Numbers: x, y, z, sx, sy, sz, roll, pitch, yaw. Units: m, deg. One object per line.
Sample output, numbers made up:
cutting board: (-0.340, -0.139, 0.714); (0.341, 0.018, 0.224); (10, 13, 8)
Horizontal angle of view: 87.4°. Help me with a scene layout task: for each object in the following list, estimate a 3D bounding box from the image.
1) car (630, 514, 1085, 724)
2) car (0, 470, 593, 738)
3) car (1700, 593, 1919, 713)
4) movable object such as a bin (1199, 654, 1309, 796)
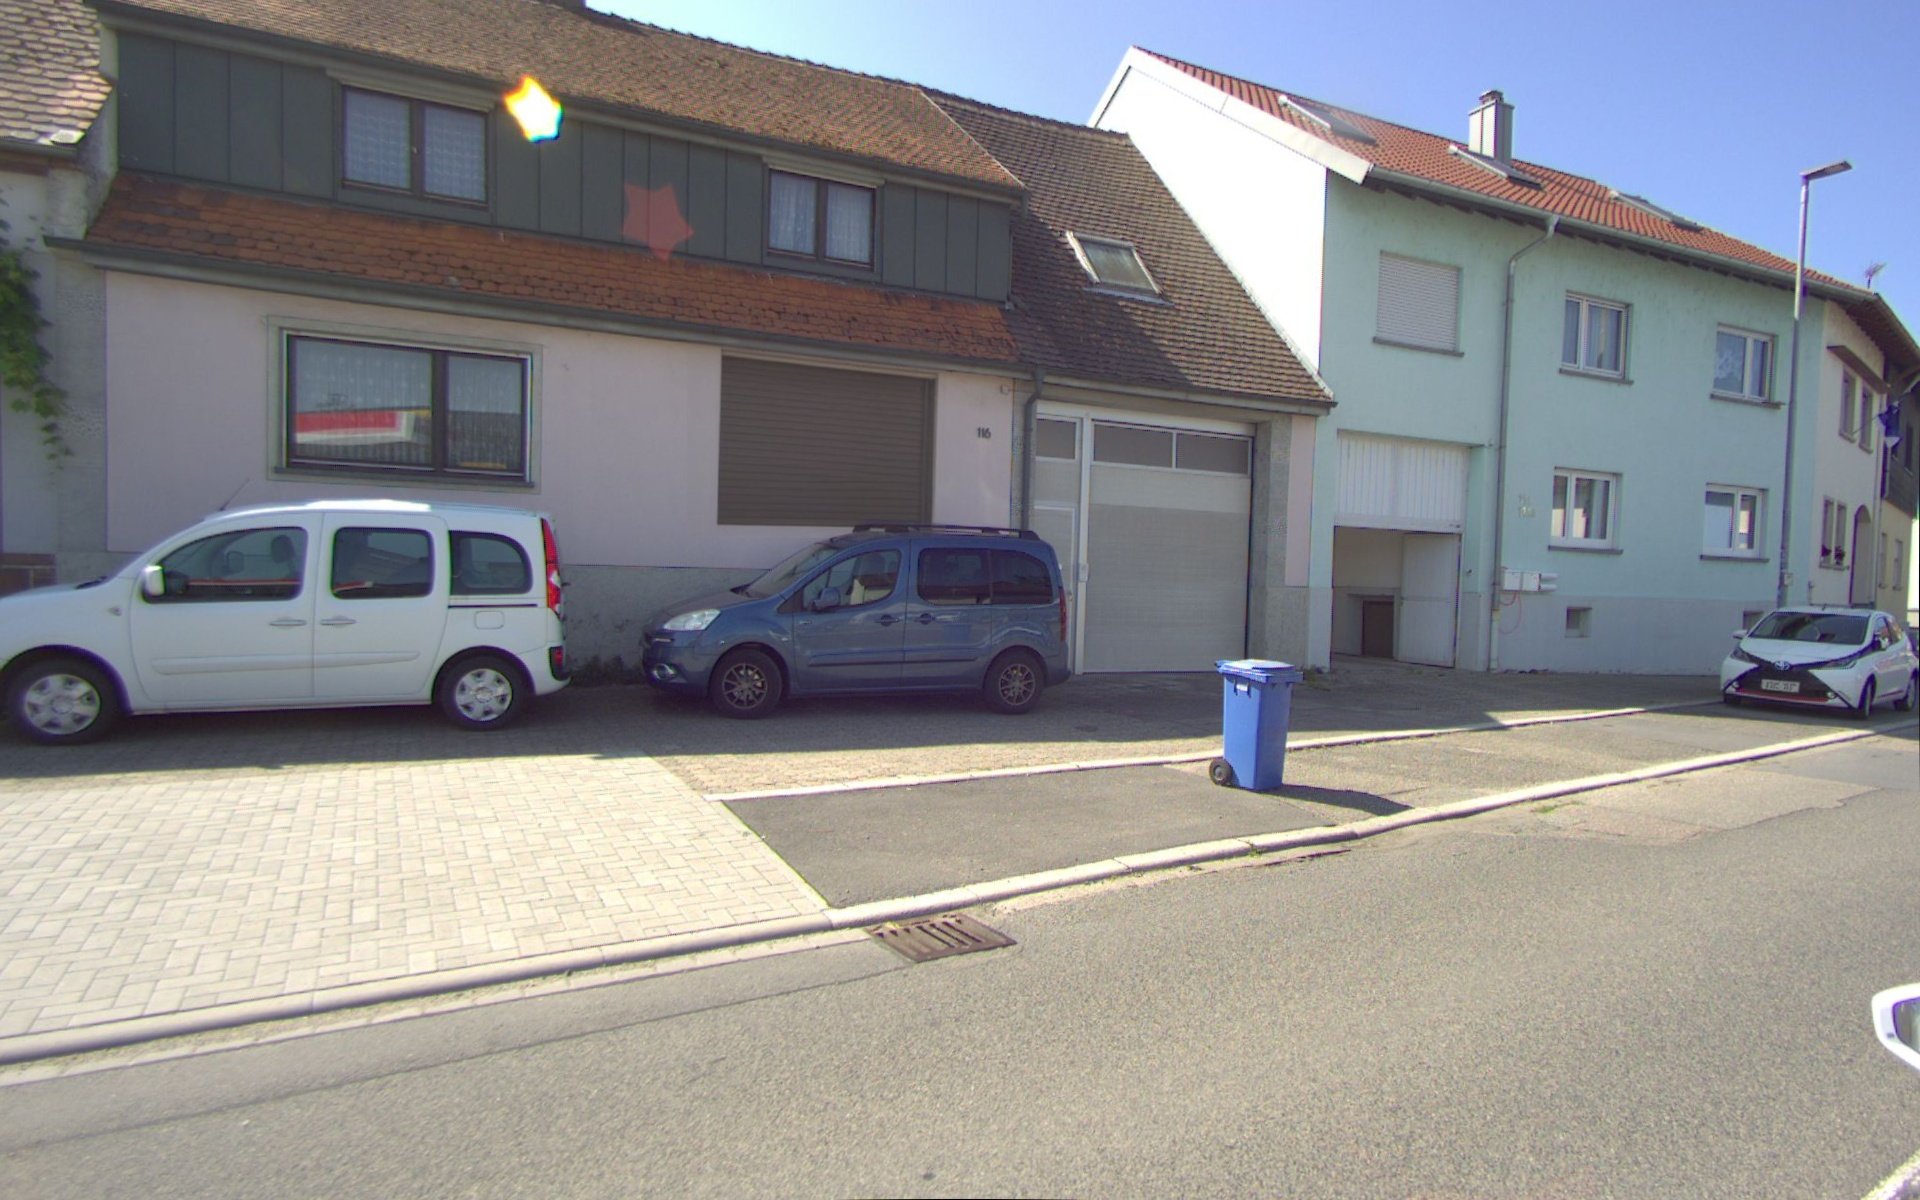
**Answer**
car: (-1.079, 0.144, 10.300); (4.278, 1.817, 1.833); (1, 4, -22)
car: (-5.365, 0.037, 8.309); (4.218, 1.798, 1.962); (2, 2, -25)
car: (12.507, 0.716, 14.671); (3.614, 1.481, 1.672); (1, 2, -36)
movable object such as a bin: (2.214, 0.917, 7.579); (0.510, 0.949, 0.553); (0, 4, -39)
